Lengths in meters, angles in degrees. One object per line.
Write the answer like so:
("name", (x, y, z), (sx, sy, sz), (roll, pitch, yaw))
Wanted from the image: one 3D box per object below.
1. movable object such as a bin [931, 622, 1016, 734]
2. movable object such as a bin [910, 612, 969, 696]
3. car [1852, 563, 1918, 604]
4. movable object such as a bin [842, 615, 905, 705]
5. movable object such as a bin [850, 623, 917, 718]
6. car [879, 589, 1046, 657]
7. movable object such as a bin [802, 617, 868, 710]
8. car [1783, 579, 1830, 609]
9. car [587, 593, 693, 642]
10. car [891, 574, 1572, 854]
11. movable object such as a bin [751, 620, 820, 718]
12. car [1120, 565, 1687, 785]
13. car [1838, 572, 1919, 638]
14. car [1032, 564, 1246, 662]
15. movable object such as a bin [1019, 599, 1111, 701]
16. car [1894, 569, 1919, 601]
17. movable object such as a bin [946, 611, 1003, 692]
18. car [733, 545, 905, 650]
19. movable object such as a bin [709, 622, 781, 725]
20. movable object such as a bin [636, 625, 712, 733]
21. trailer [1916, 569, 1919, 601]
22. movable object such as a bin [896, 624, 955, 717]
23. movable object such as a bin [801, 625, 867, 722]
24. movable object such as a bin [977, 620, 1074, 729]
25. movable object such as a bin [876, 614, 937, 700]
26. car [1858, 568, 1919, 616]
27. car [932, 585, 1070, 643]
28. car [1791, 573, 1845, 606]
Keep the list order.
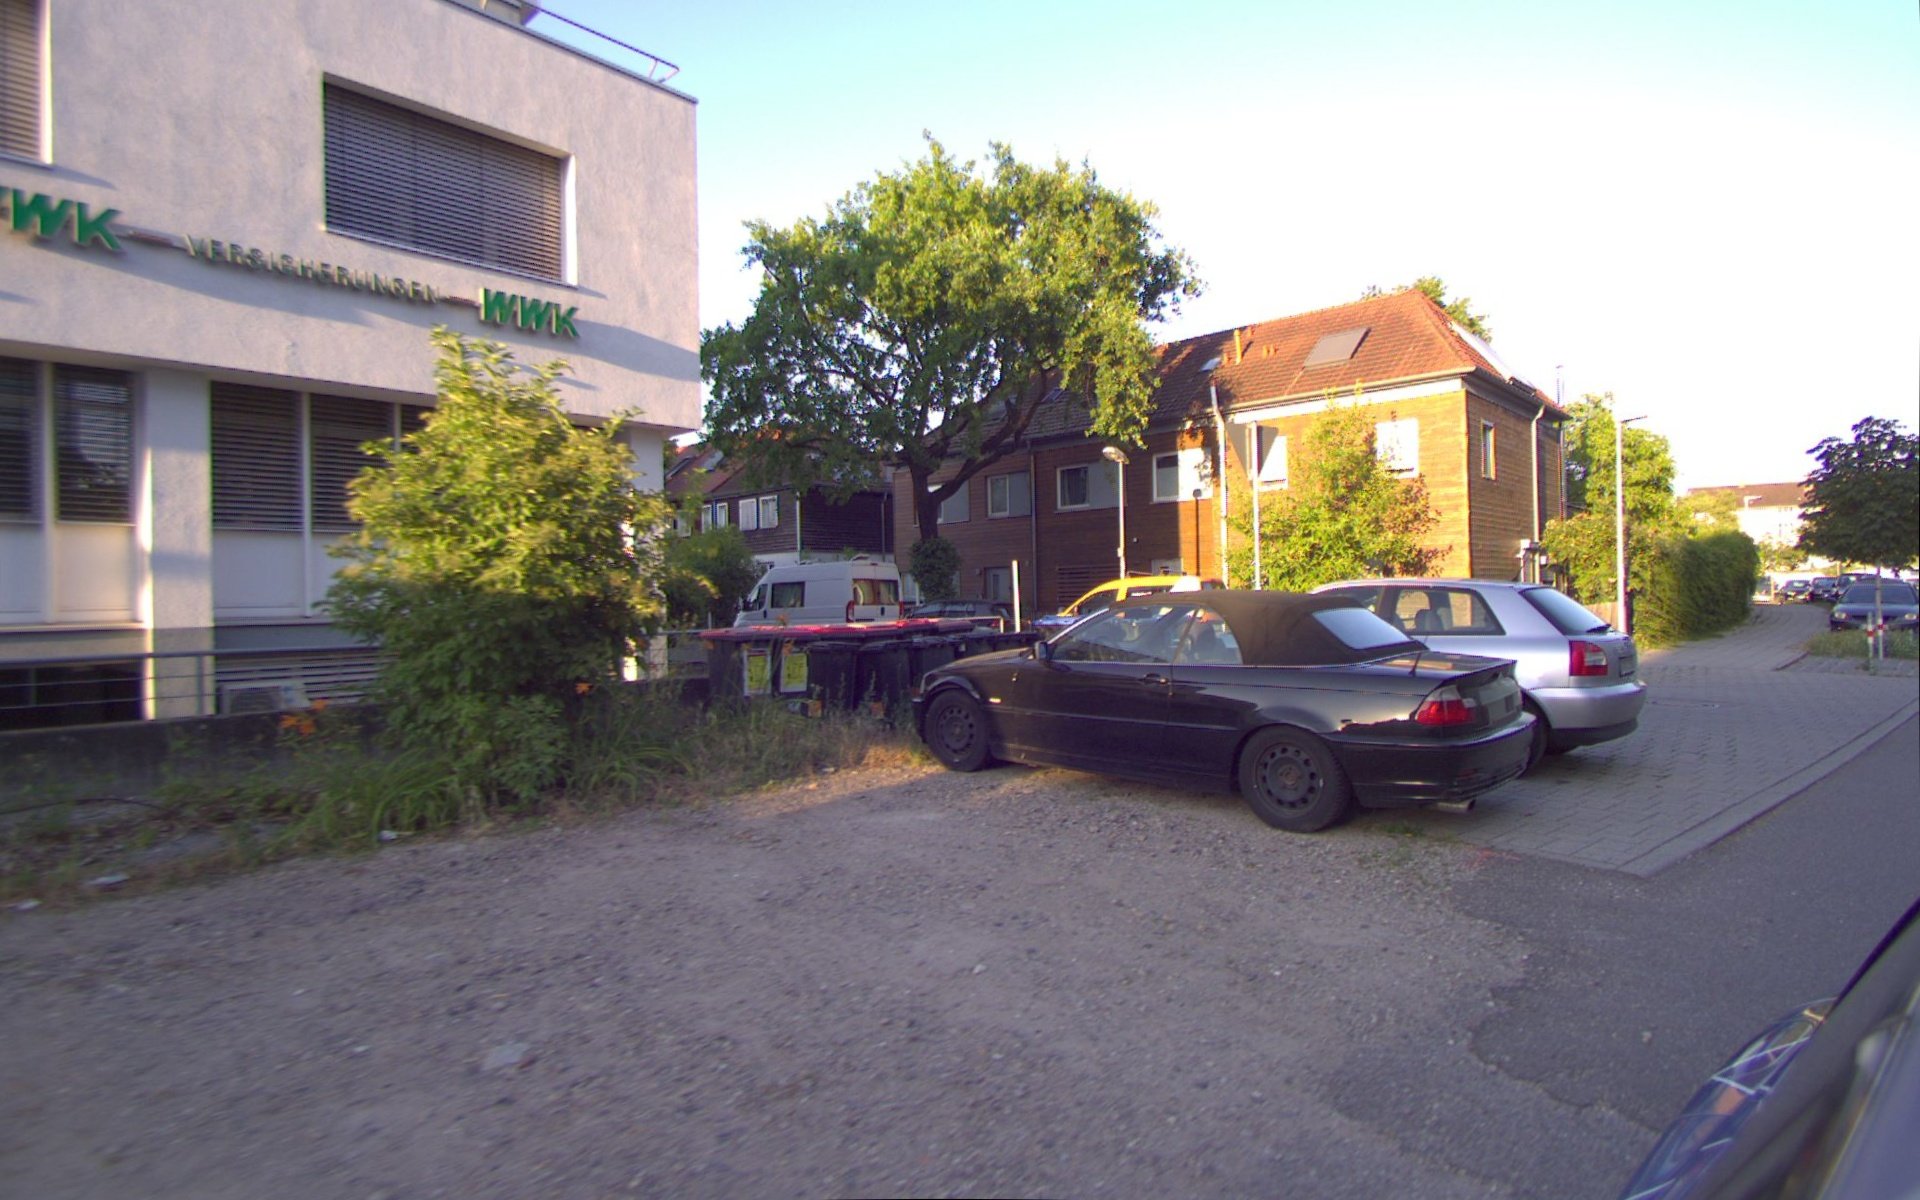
("movable object such as a bin", (0.135, 0.749, 10.021), (0.620, 1.034, 0.553), (-1, 0, 42))
("movable object such as a bin", (-0.246, 0.629, 12.089), (0.467, 0.943, 0.517), (0, 1, 45))
("car", (35.111, -0.630, 38.441), (1.765, 1.481, 4.301), (0, 1, 42))
("movable object such as a bin", (-0.965, 0.656, 11.292), (0.467, 0.943, 0.517), (0, 1, 45))
("movable object such as a bin", (-0.734, 0.667, 9.726), (0.498, 0.868, 0.390), (-1, 0, 42))
("car", (0.019, 0.512, 23.865), (3.594, 1.474, 1.928), (-1, -1, 42))
("movable object such as a bin", (-1.348, 0.670, 10.890), (0.467, 0.943, 0.517), (0, 1, 45))
("car", (45.259, -0.328, 54.191), (1.762, 1.481, 4.308), (-2, 0, 38))
("car", (-10.988, 0.592, 34.721), (3.594, 1.575, 1.928), (-1, -1, 42))
("car", (1.631, 0.517, 7.143), (4.317, 1.350, 1.866), (1, 2, 45))
("movable object such as a bin", (-1.780, 0.687, 10.348), (0.467, 0.943, 0.517), (0, 1, 45))
("car", (3.567, 0.438, 8.635), (4.057, 1.425, 1.866), (1, 1, 45))
("car", (22.670, 0.078, 24.608), (4.297, 1.481, 1.677), (-1, 1, -44))
("car", (3.538, 0.256, 20.404), (3.937, 1.789, 1.756), (-1, -1, 42))
("movable object such as a bin", (1.131, 0.517, 10.891), (0.703, 1.034, 0.702), (-1, 0, 38))
("car", (51.255, -0.793, 53.836), (1.754, 1.641, 4.717), (0, 1, 36))
("movable object such as a bin", (0.174, 0.615, 12.450), (0.467, 0.943, 0.517), (0, 1, 45))
("car", (-3.879, -0.036, 27.344), (4.734, 2.593, 2.066), (-1, -1, 42))
("movable object such as a bin", (-2.101, 0.701, 9.897), (0.467, 0.943, 0.517), (0, 1, 45))
("movable object such as a bin", (-2.675, 0.718, 9.476), (0.467, 0.943, 0.517), (0, 1, 45))
("trailer", (48.995, -0.736, 50.259), (1.690, 1.641, 3.715), (0, 1, 36))
("movable object such as a bin", (-0.334, 0.672, 9.878), (0.414, 0.868, 0.390), (-1, 0, 42))
("movable object such as a bin", (-1.190, 0.679, 9.543), (0.476, 0.868, 0.390), (-1, 0, 42))
("movable object such as a bin", (0.673, 0.733, 10.352), (0.703, 1.034, 0.702), (-1, 0, 38))
("movable object such as a bin", (-0.613, 0.643, 11.681), (0.467, 0.943, 0.517), (0, 1, 45))
("car", (30.918, -0.296, 33.476), (1.765, 1.481, 4.301), (0, 1, 42))
("car", (1.190, 0.361, 28.518), (3.549, 1.474, 1.953), (-2, 1, -44))
("car", (41.078, -0.494, 48.418), (1.765, 1.481, 4.301), (-2, 0, 43))
